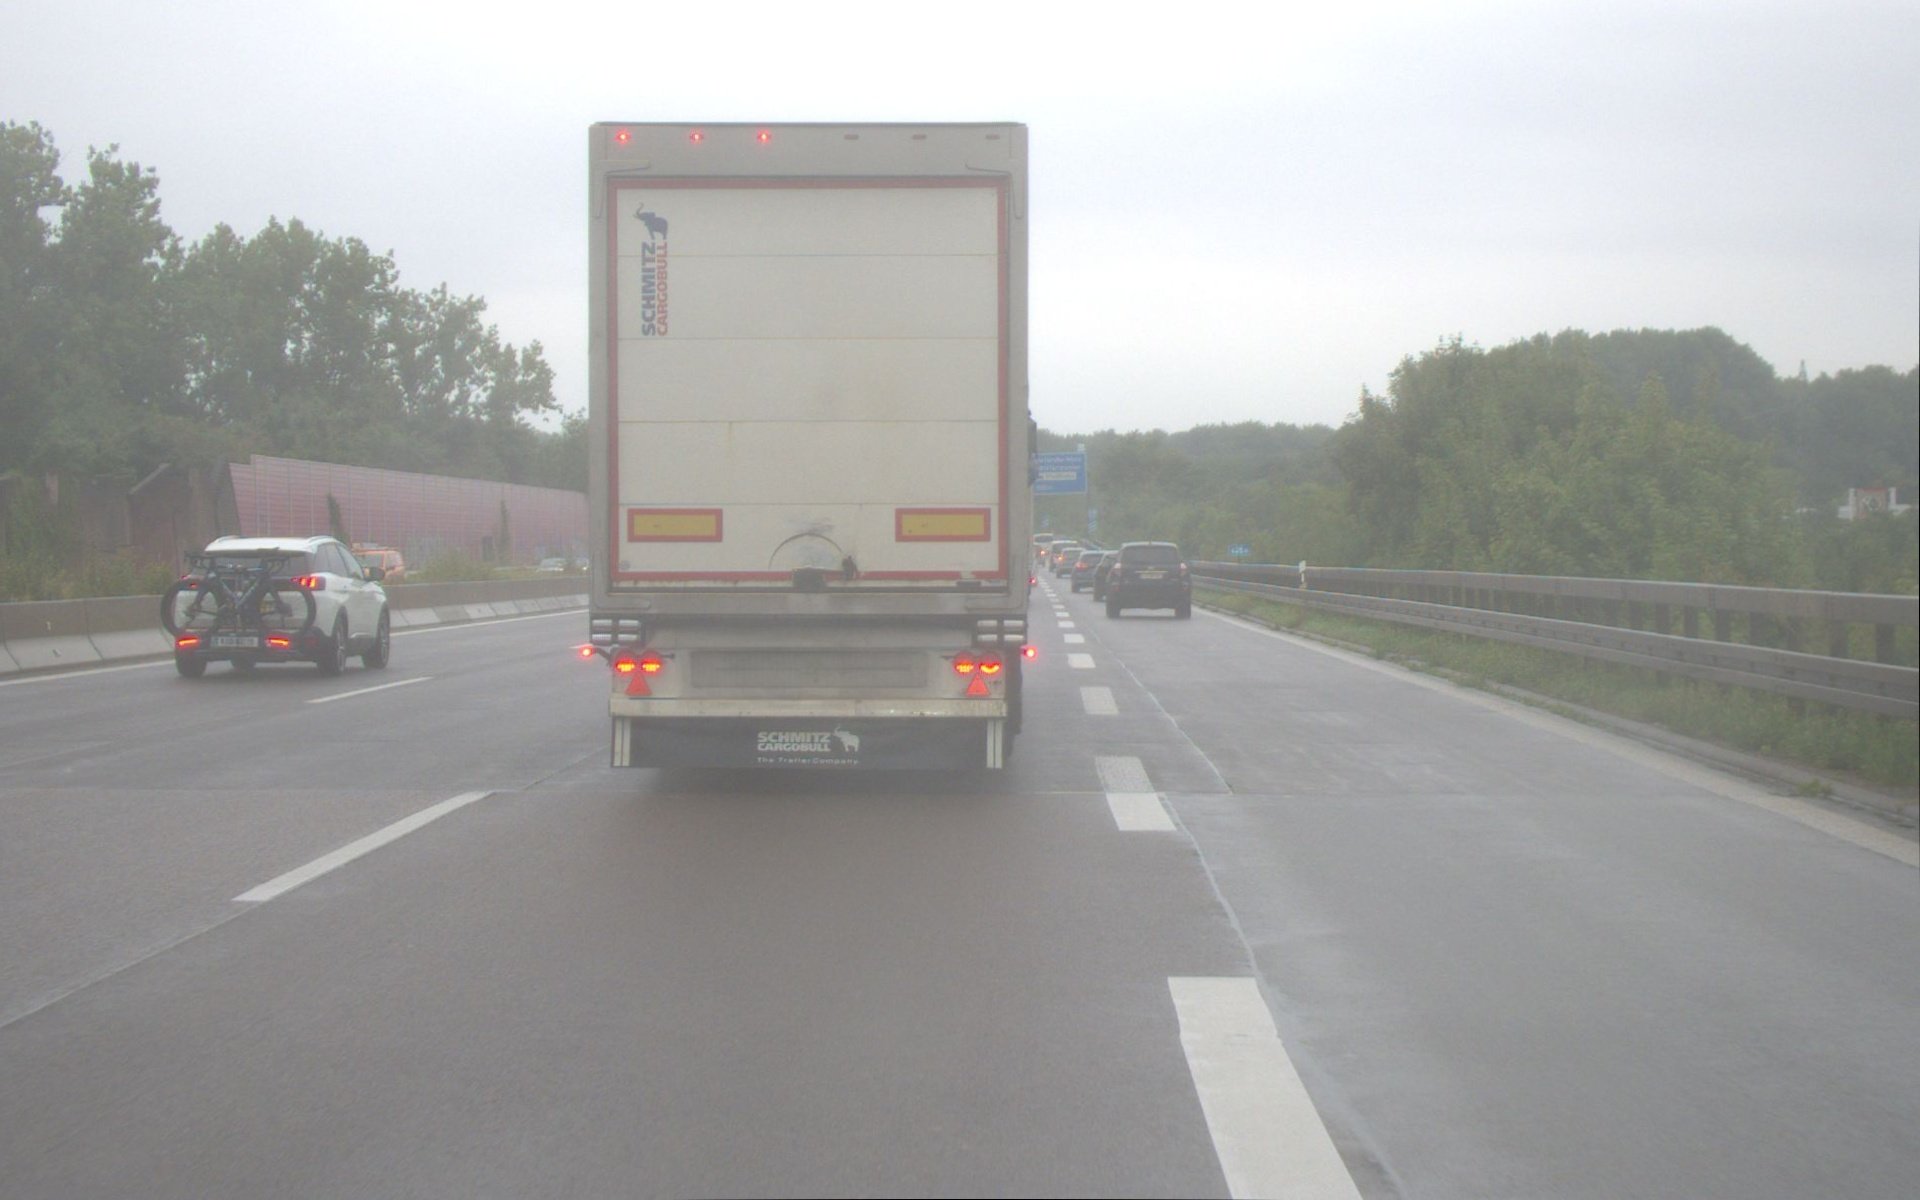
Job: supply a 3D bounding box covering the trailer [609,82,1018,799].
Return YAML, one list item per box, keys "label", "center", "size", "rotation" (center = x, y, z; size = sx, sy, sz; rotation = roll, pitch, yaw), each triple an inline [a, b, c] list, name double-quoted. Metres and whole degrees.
- label: "trailer"
  center: [-0.723, -1.095, 27.308]
  size: [2.342, 4.143, 14.827]
  rotation: [0, 1, 1]

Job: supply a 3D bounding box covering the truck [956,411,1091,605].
- label: "truck"
  center: [1.799, -2.555, 97.618]
  size: [3.534, 5.165, 9.893]
  rotation: [1, 1, 1]

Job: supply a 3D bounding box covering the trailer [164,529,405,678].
- label: "trailer"
  center: [-7.738, -0.011, 39.796]
  size: [1.815, 1.619, 4.568]
  rotation: [0, 1, 1]

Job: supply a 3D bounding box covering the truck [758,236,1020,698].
- label: "truck"
  center: [-0.583, -1.268, 34.080]
  size: [2.342, 4.143, 6.347]
  rotation: [0, 1, 1]

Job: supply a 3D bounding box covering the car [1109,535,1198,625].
- label: "car"
  center: [4.310, -0.467, 77.019]
  size: [1.897, 1.943, 4.000]
  rotation: [1, 1, 2]
